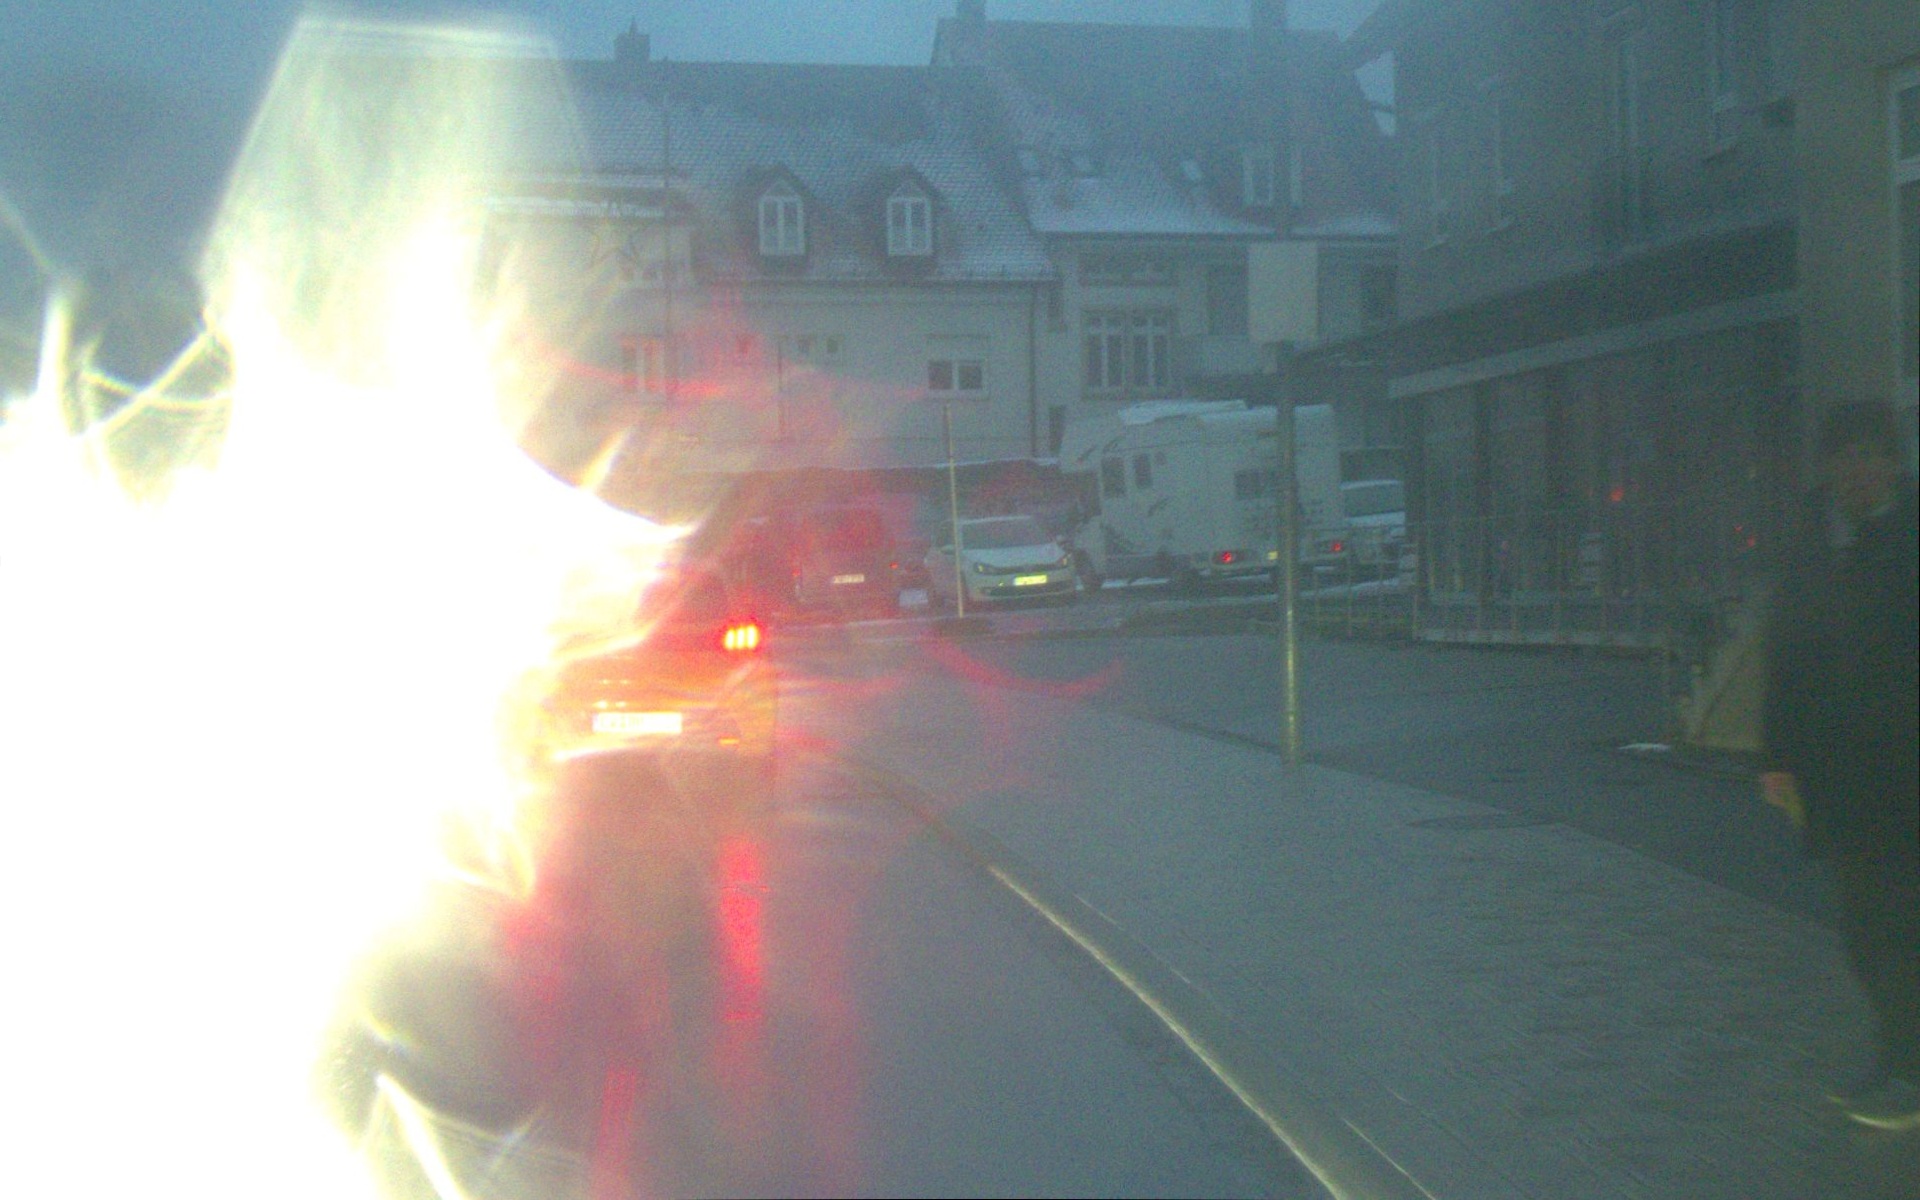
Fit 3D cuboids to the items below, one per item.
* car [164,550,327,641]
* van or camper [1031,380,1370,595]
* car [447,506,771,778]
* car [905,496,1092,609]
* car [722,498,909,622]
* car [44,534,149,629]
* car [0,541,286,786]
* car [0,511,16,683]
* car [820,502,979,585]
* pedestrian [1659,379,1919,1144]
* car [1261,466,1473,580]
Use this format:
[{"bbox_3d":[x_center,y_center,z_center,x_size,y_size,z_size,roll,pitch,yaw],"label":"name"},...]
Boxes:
[{"bbox_3d":[-13.050,-0.114,62.613,1.993,1.583,4.001,0,1,-26],"label":"car"},{"bbox_3d":[3.682,-1.733,54.567,2.650,3.037,6.736,-5,2,-20],"label":"van or camper"},{"bbox_3d":[-2.135,0.207,21.409,1.814,1.528,4.001,0,1,-4],"label":"car"},{"bbox_3d":[0.560,-0.720,53.943,1.993,1.605,4.175,-3,0,-12],"label":"car"},{"bbox_3d":[-2.311,-0.647,53.709,1.993,1.759,4.352,-3,2,-14],"label":"car"},{"bbox_3d":[-20.517,-0.463,81.590,1.993,2.195,4.001,0,1,-20],"label":"car"},{"bbox_3d":[-6.046,0.409,25.066,1.917,1.559,4.227,-3,1,-8],"label":"car"},{"bbox_3d":[-11.012,-0.019,35.313,1.993,1.837,5.305,0,1,-10],"label":"car"},{"bbox_3d":[-1.205,-1.110,65.807,1.822,1.457,4.550,-3,2,-17],"label":"car"},{"bbox_3d":[2.140,0.348,8.199,0.745,1.723,0.873,-1,2,-1],"label":"pedestrian"},{"bbox_3d":[6.370,-1.206,54.234,1.788,1.548,4.001,-7,3,-15],"label":"car"}]
